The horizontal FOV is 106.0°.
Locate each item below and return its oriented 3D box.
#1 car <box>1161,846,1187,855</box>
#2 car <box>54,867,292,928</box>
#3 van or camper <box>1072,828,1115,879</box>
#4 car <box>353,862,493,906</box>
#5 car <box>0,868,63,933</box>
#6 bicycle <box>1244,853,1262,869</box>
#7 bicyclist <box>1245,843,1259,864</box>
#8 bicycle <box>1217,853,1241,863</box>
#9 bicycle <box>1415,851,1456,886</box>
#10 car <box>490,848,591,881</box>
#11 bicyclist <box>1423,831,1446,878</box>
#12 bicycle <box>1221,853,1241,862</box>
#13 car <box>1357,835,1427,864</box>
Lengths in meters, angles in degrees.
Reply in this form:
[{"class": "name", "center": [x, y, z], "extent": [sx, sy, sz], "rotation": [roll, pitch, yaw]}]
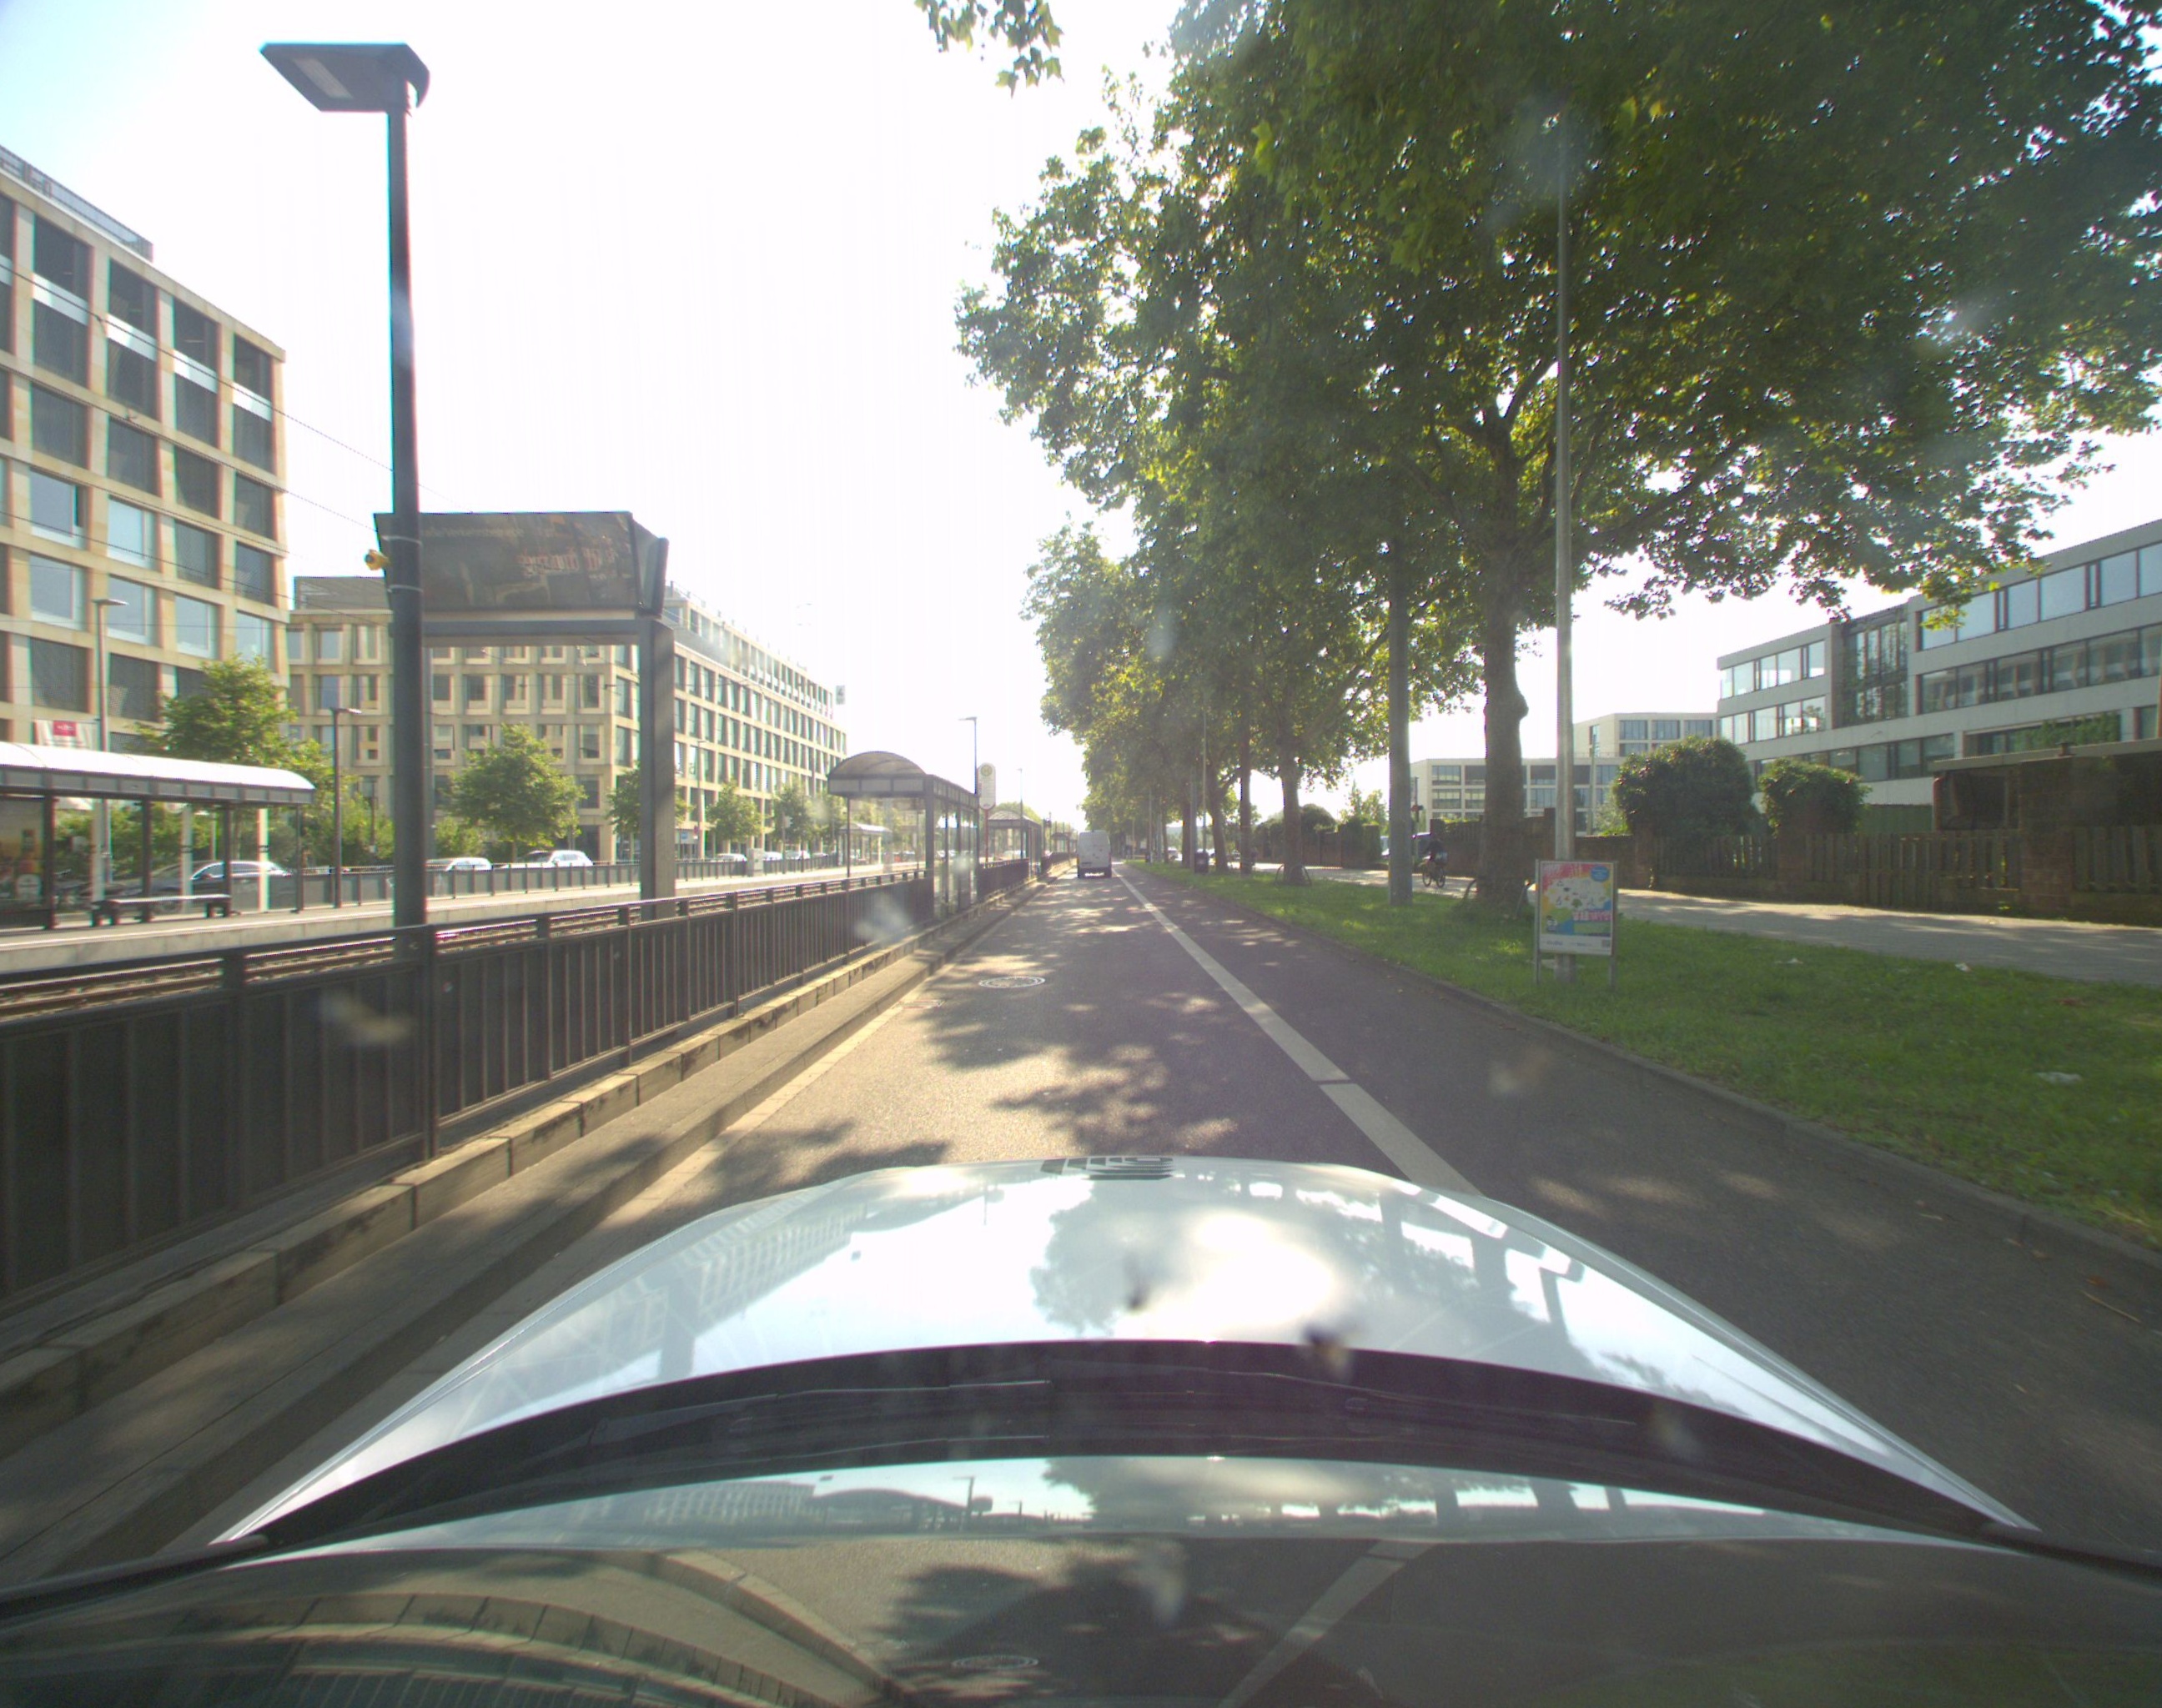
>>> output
[{"class": "car", "center": [15.079, -0.593, 131.720], "extent": [3.974, 1.376, 2.000], "rotation": [1, -1, 0]}, {"class": "car", "center": [-24.896, 1.119, 22.614], "extent": [1.678, 1.407, 4.372], "rotation": [-1, 0, 0]}, {"class": "van or camper", "center": [0.651, -0.023, 47.463], "extent": [2.110, 2.682, 5.245], "rotation": [-3, 0, -3]}, {"class": "car", "center": [-24.562, 1.073, 30.640], "extent": [1.678, 1.407, 4.372], "rotation": [-1, 0, 0]}, {"class": "car", "center": [-24.795, 1.068, 16.950], "extent": [1.678, 1.407, 4.372], "rotation": [-1, 0, 0]}, {"class": "bicycle", "center": [10.845, 0.427, 51.474], "extent": [0.679, 1.005, 2.217], "rotation": [-1, 0, 0]}, {"class": "bicyclist", "center": [10.829, -0.021, 51.624], "extent": [0.667, 1.276, 0.728], "rotation": [-1, 0, -1]}, {"class": "bicycle", "center": [14.273, 0.405, 78.539], "extent": [2.172, 0.847, 0.503], "rotation": [-2, 0, 0]}, {"class": "bicycle", "center": [11.751, 0.467, 27.042], "extent": [0.490, 1.089, 1.856], "rotation": [-1, 0, -2]}, {"class": "car", "center": [-24.647, 0.427, 37.346], "extent": [1.678, 1.407, 4.370], "rotation": [-1, 0, 0]}, {"class": "bicyclist", "center": [11.740, 0.007, 27.044], "extent": [0.468, 1.539, 0.596], "rotation": [-1, 0, -2]}, {"class": "bicycle", "center": [15.004, 0.352, 81.518], "extent": [1.925, 0.847, 0.372], "rotation": [-1, 0, 0]}, {"class": "car", "center": [20.446, -0.291, 53.651], "extent": [3.991, 1.842, 1.560], "rotation": [-1, 0, -2]}]
